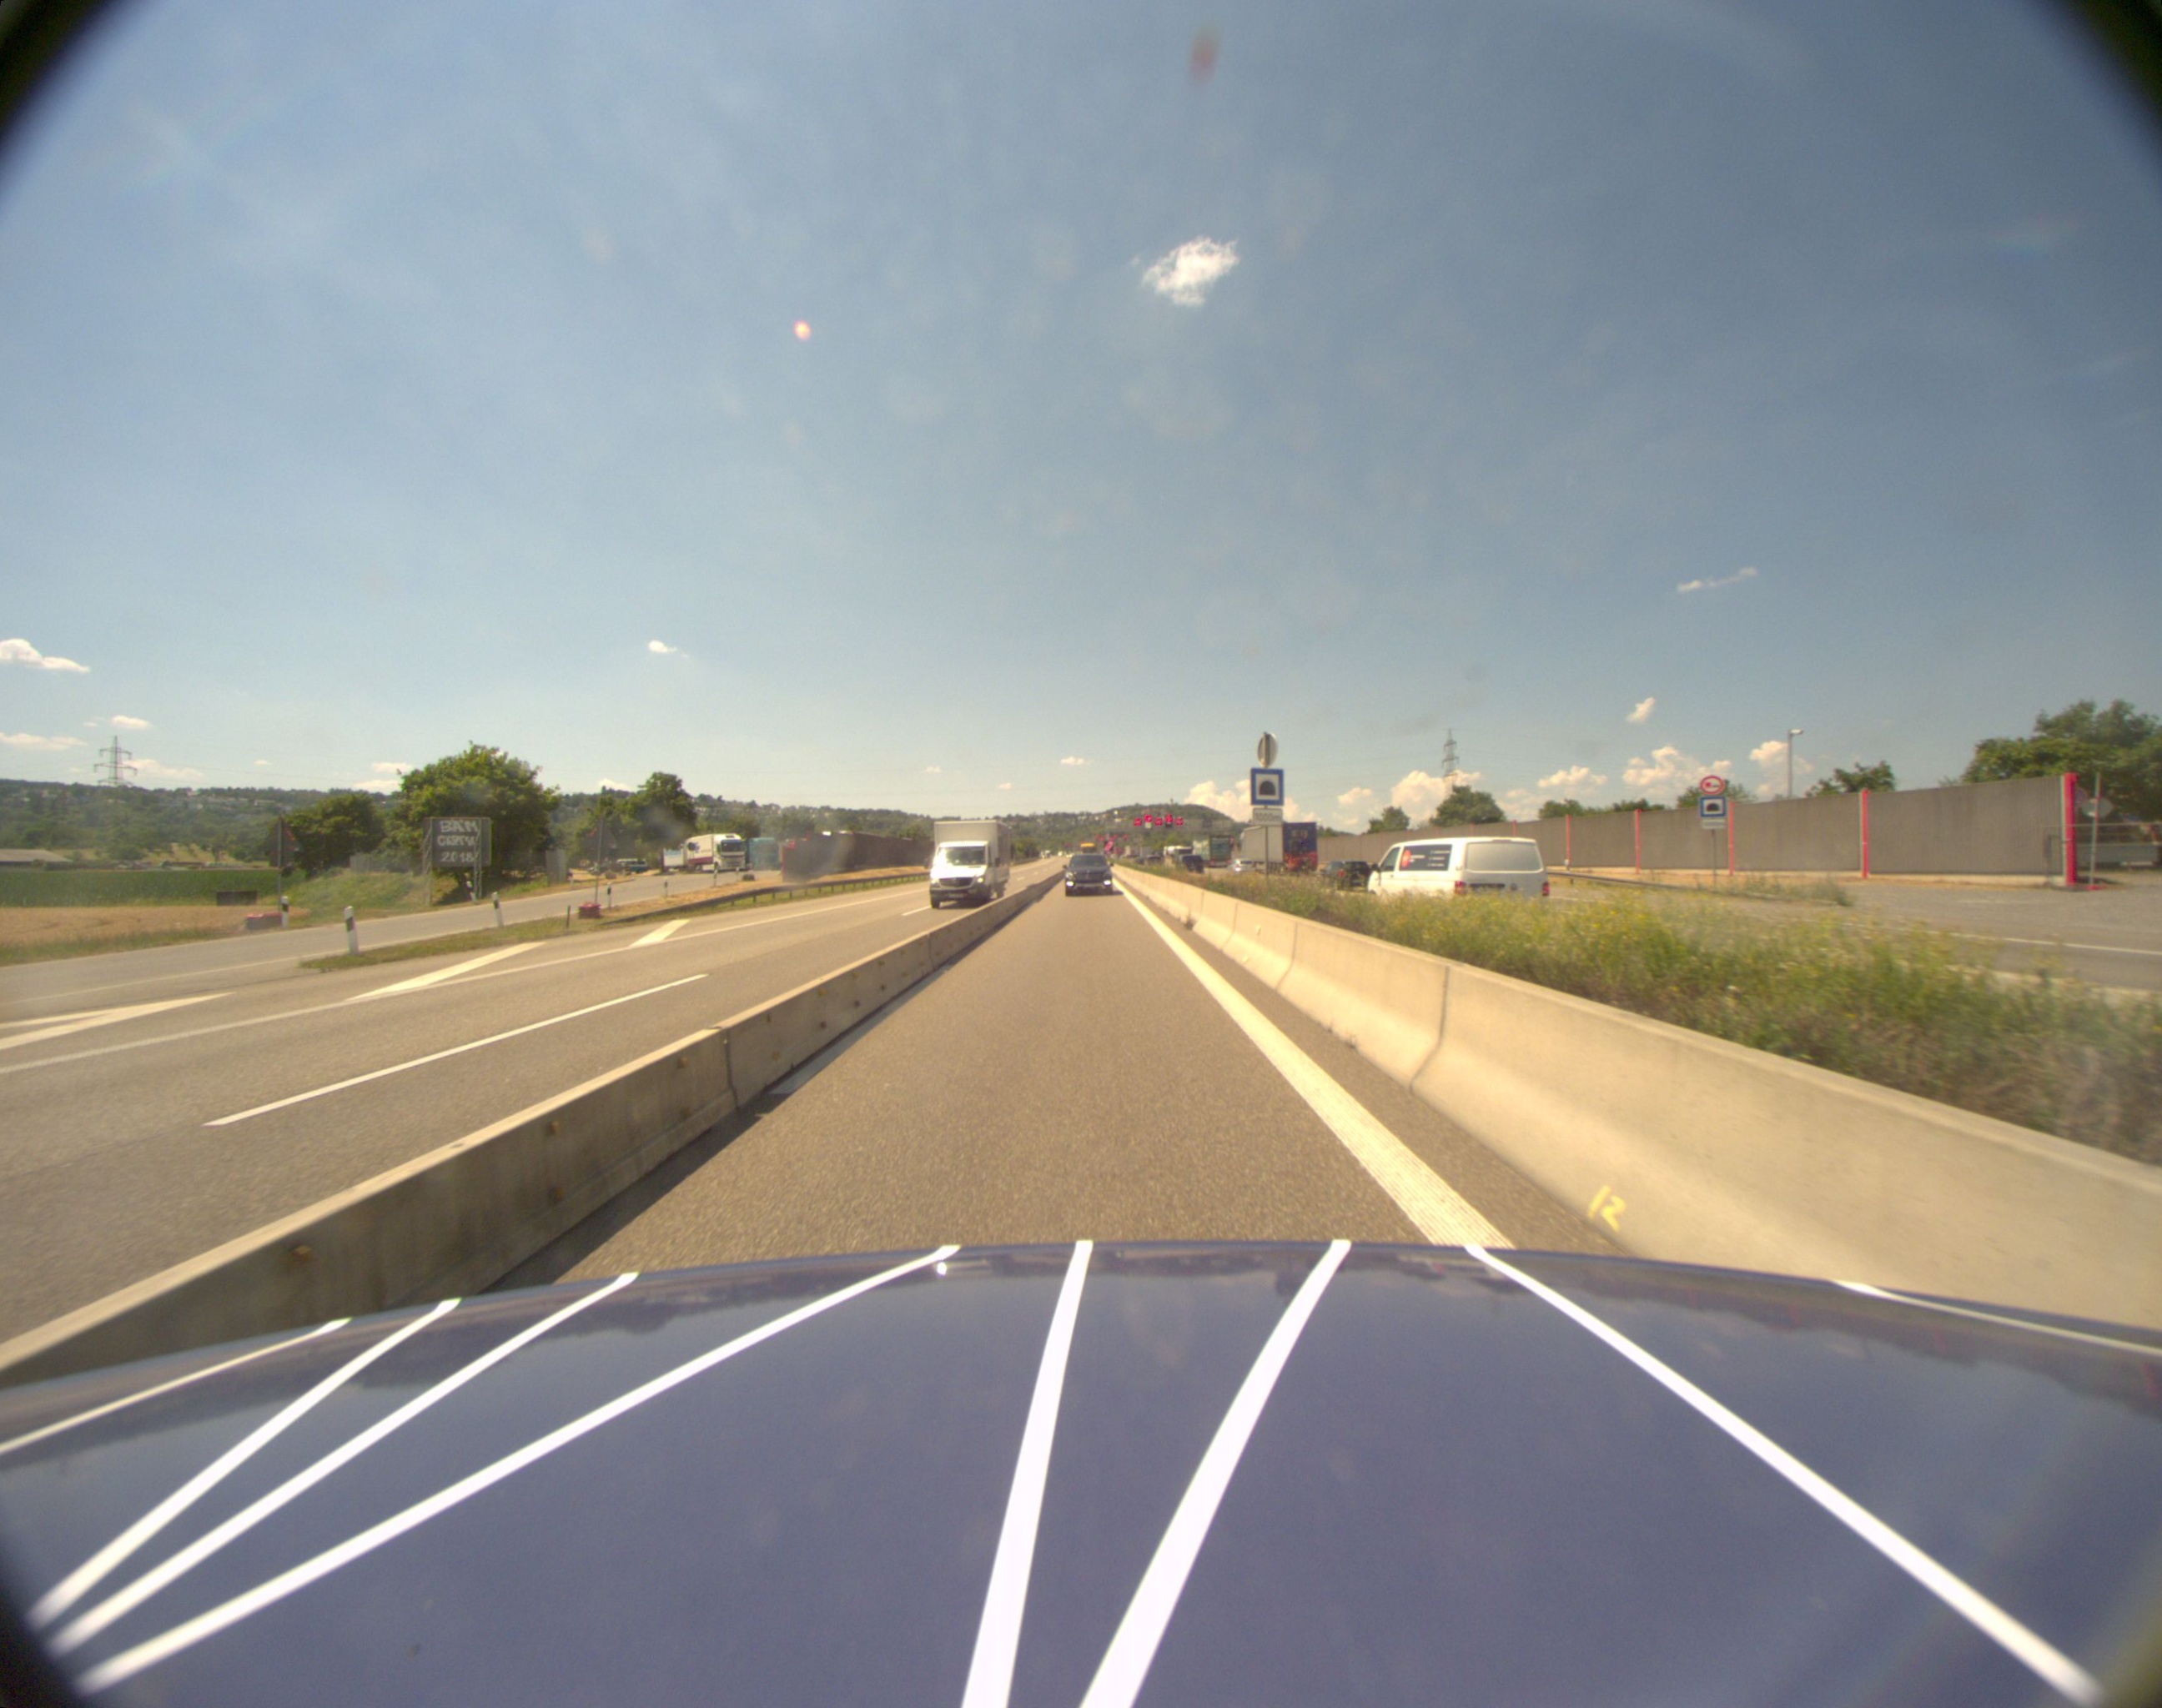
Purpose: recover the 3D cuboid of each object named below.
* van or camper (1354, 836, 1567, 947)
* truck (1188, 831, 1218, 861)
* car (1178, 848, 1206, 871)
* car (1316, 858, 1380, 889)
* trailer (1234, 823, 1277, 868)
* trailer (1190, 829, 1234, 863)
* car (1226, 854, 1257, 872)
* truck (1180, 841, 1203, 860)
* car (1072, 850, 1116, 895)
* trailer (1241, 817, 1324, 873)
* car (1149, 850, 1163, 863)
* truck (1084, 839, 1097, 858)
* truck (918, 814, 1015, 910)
[{"bbox_3d":[7.958,0.676,16.705,1.998,2.002,5.444,-2,0,1],"label":"van or camper"},{"bbox_3d":[16.944,-1.122,105.664,3.231,4.033,5.020,-2,1,1],"label":"truck"},{"bbox_3d":[8.740,0.426,60.162,1.654,1.694,3.741,-2,0,1],"label":"car"},{"bbox_3d":[12.157,0.858,34.827,1.737,1.331,3.496,0,0,1],"label":"car"},{"bbox_3d":[16.479,-0.814,71.980,2.967,4.043,4.456,-2,1,1],"label":"trailer"},{"bbox_3d":[16.811,-1.038,98.898,3.263,4.033,14.389,-2,1,1],"label":"trailer"},{"bbox_3d":[12.491,0.675,59.319,1.654,1.331,3.741,-2,0,1],"label":"car"},{"bbox_3d":[17.604,-0.587,121.567,2.405,2.856,9.090,-2,0,1],"label":"truck"},{"bbox_3d":[0.560,0.747,31.835,1.630,1.711,3.865,-3,-1,1],"label":"car"},{"bbox_3d":[16.365,-0.735,63.311,2.991,4.042,15.162,-2,0,1],"label":"trailer"},{"bbox_3d":[9.230,0.325,93.726,1.515,1.530,3.183,-2,0,1],"label":"car"},{"bbox_3d":[1.724,-1.015,136.299,2.272,3.139,8.186,-2,1,1],"label":"truck"},{"bbox_3d":[-4.042,0.295,28.222,2.326,3.049,6.752,-2,-1,1],"label":"truck"}]
